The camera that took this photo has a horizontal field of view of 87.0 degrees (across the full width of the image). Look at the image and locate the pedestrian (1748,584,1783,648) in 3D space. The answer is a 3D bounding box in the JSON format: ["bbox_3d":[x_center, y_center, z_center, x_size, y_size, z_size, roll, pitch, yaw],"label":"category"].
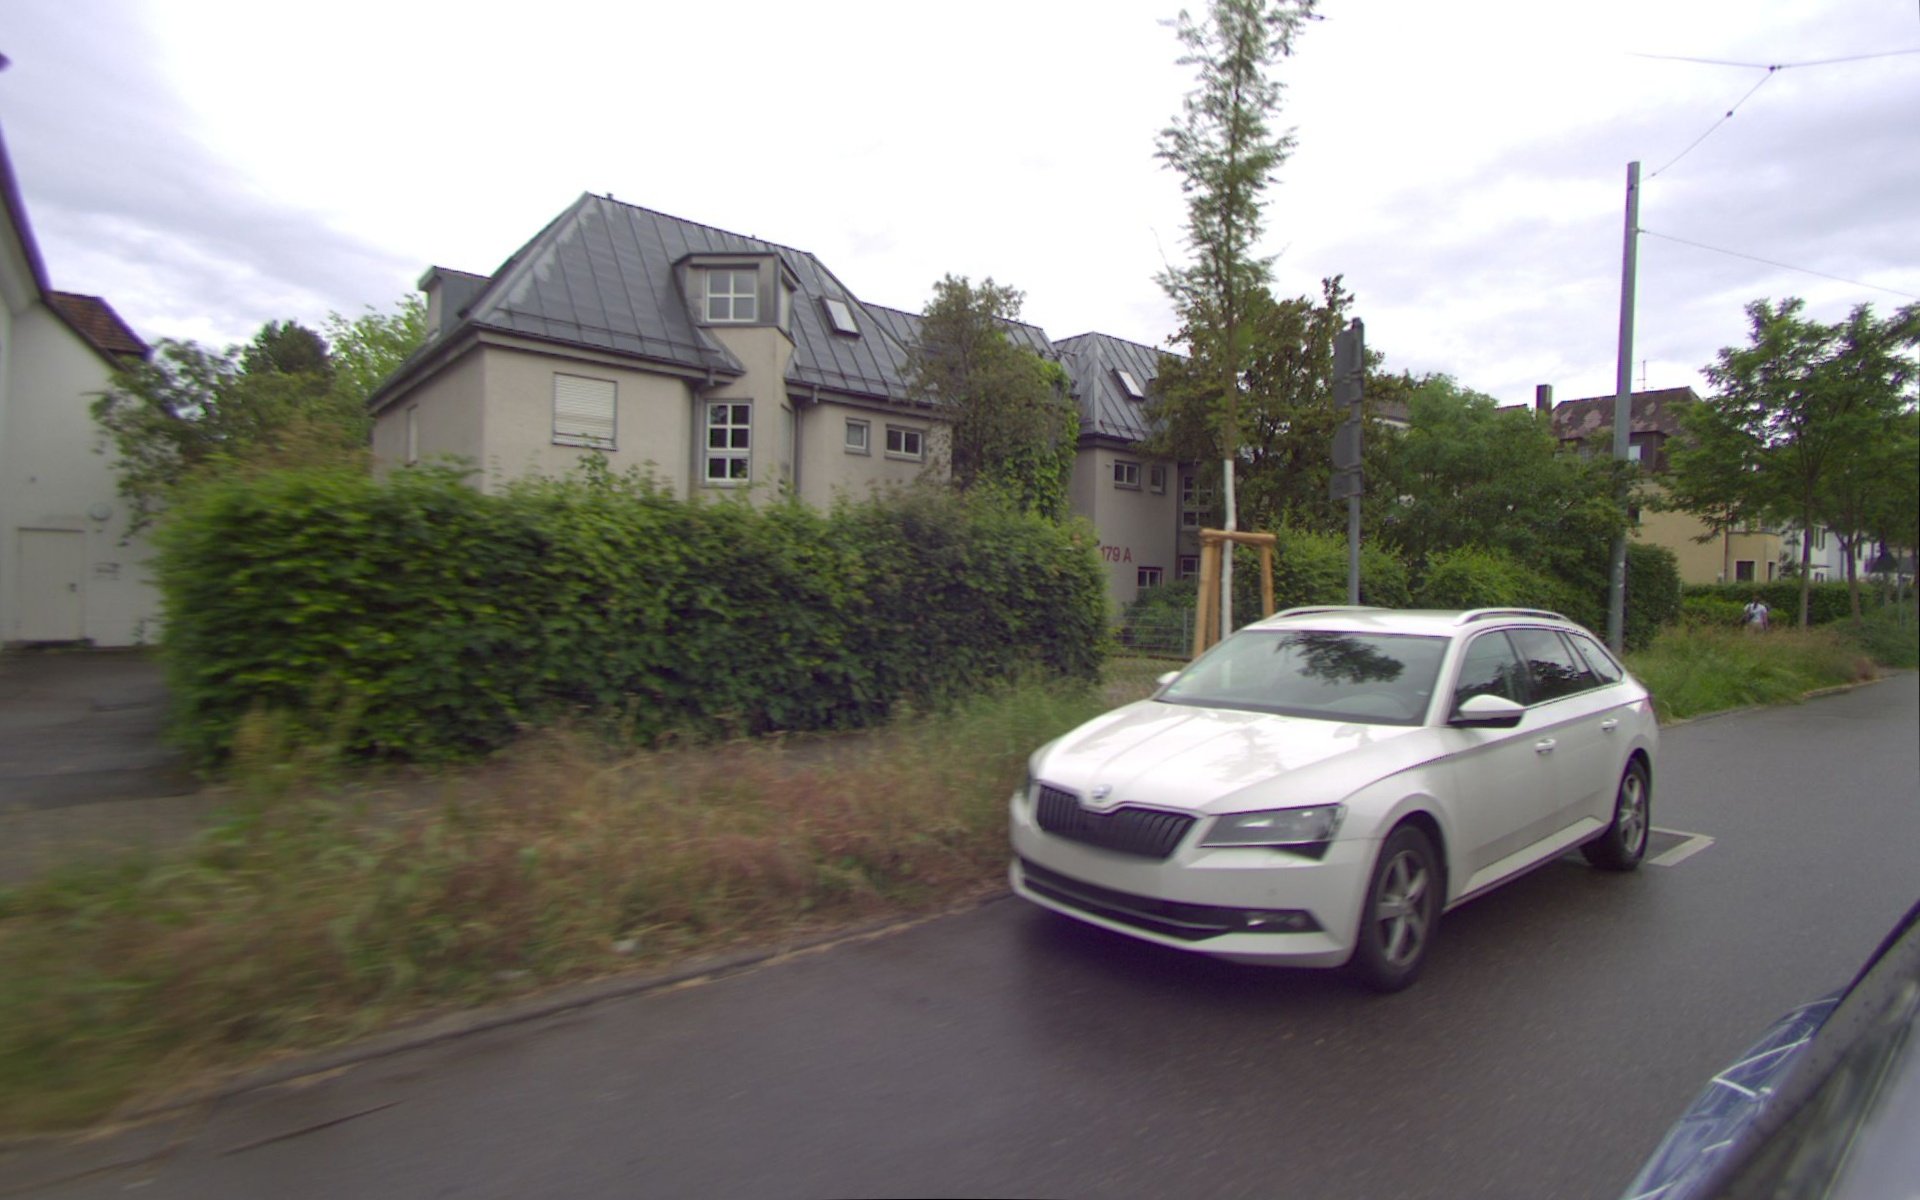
[{"bbox_3d":[22.657,0.444,28.457,0.701,1.753,0.635,-1,1,-38],"label":"pedestrian"}]

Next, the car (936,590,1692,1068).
[{"bbox_3d":[2.155,0.721,5.331,4.469,1.493,1.799,0,-1,-41],"label":"car"}]

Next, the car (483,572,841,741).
[{"bbox_3d":[-3.142,0.497,10.933,3.330,1.538,1.649,0,1,-40],"label":"car"}]
